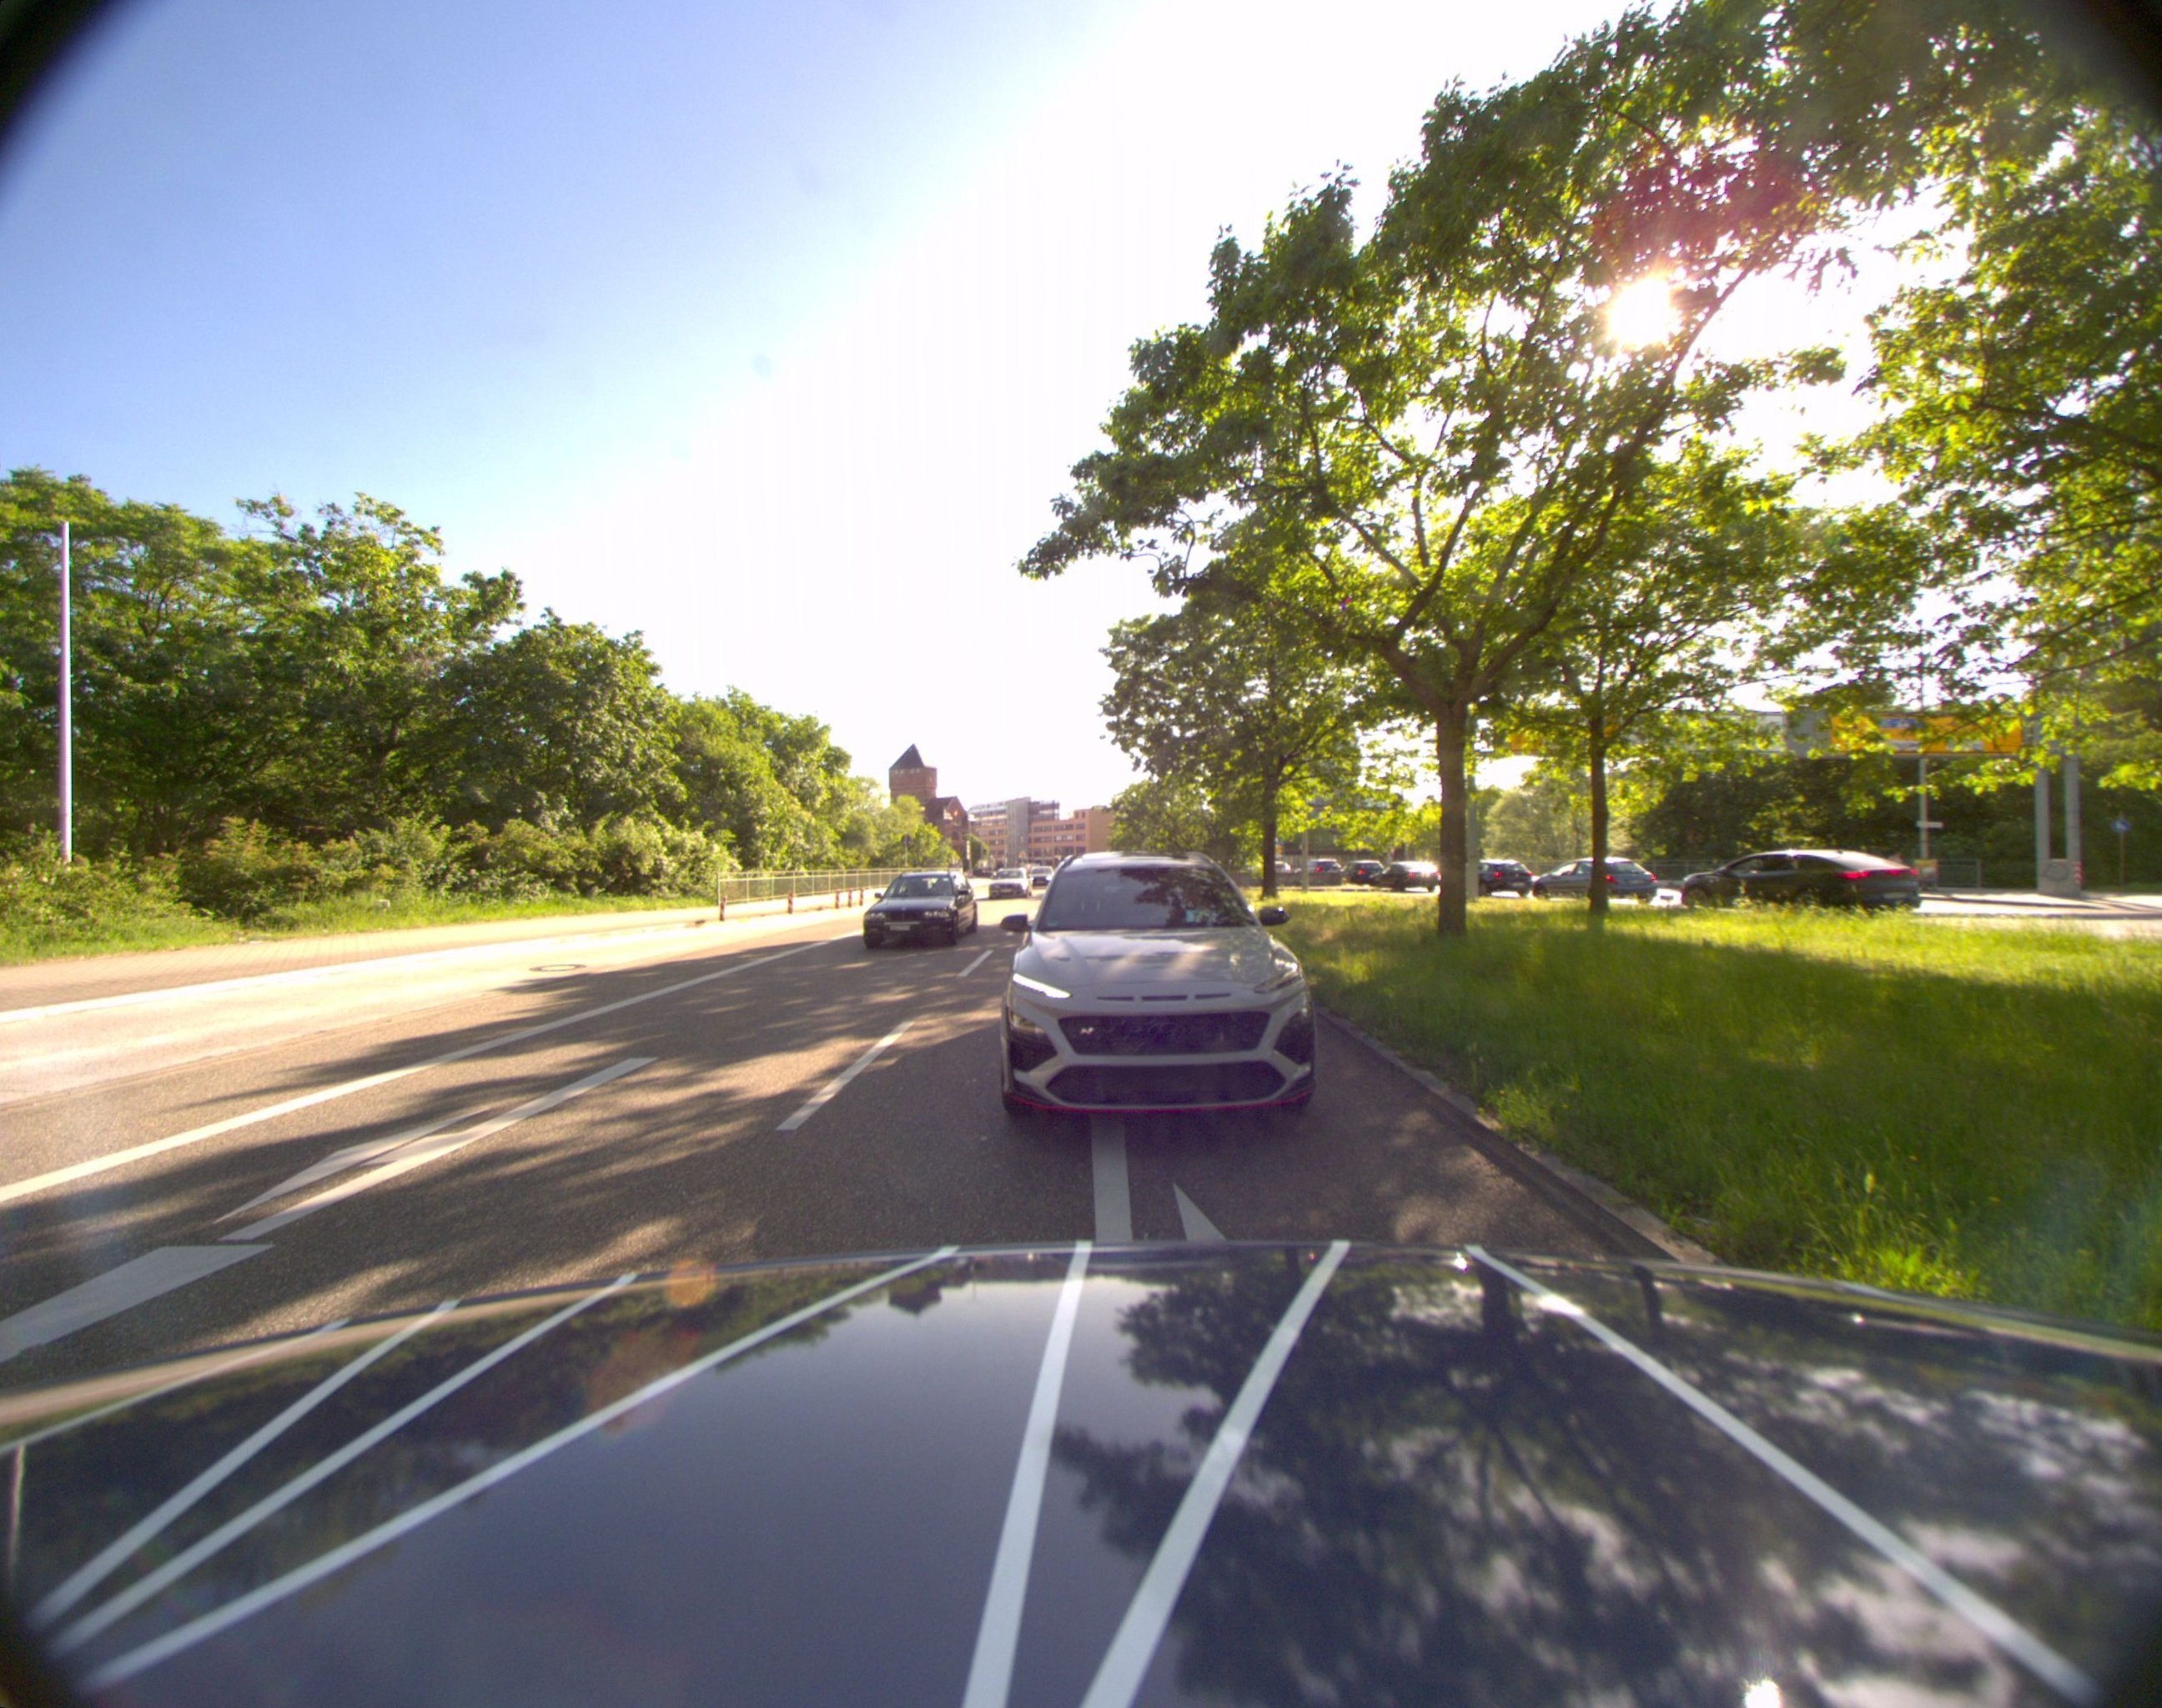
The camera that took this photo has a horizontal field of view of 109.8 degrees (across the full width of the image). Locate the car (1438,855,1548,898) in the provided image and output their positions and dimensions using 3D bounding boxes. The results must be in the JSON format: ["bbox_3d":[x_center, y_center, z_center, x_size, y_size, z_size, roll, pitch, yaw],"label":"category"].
[{"bbox_3d":[16.184,0.846,30.143,1.875,1.541,4.221,-1,0,-4],"label":"car"}]

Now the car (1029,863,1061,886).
[{"bbox_3d":[-2.305,1.325,49.480,1.785,1.411,4.001,-1,-1,1],"label":"car"}]

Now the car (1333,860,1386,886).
[{"bbox_3d":[15.147,1.032,41.472,1.481,1.331,3.202,-1,-1,-6],"label":"car"}]

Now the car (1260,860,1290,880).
[{"bbox_3d":[14.317,1.206,56.119,1.228,1.331,2.882,-1,-3,-6],"label":"car"}]

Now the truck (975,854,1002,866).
[{"bbox_3d":[-25.497,1.758,208.975,3.535,3.231,9.141,-1,0,-36],"label":"truck"}]

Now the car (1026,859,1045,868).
[{"bbox_3d":[-11.304,2.331,188.814,2.177,2.001,5.400,-1,0,-36],"label":"car"}]

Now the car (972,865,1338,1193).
[{"bbox_3d":[0.384,0.882,5.681,1.752,1.523,3.988,-1,0,1],"label":"car"}]

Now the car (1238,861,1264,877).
[{"bbox_3d":[13.940,1.280,62.321,1.199,1.252,2.768,-1,-2,-6],"label":"car"}]

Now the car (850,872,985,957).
[{"bbox_3d":[-3.172,1.126,15.666,1.776,1.395,4.318,-1,0,1],"label":"car"}]

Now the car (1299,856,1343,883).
[{"bbox_3d":[14.968,0.991,47.525,1.450,1.549,3.202,-1,-2,-6],"label":"car"}]

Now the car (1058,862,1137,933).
[{"bbox_3d":[0.384,0.964,18.529,1.677,1.463,4.151,-1,0,1],"label":"car"}]

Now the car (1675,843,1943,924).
[{"bbox_3d":[16.782,0.606,17.909,1.832,1.638,4.458,-1,0,-5],"label":"car"}]

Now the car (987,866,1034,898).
[{"bbox_3d":[-3.253,1.286,35.758,1.785,1.411,4.001,-1,-1,1],"label":"car"}]

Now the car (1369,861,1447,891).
[{"bbox_3d":[15.471,0.997,36.216,1.623,1.305,4.066,-1,0,-6],"label":"car"}]

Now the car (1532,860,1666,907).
[{"bbox_3d":[16.385,0.882,24.253,1.561,1.355,3.608,-1,-1,-6],"label":"car"}]
